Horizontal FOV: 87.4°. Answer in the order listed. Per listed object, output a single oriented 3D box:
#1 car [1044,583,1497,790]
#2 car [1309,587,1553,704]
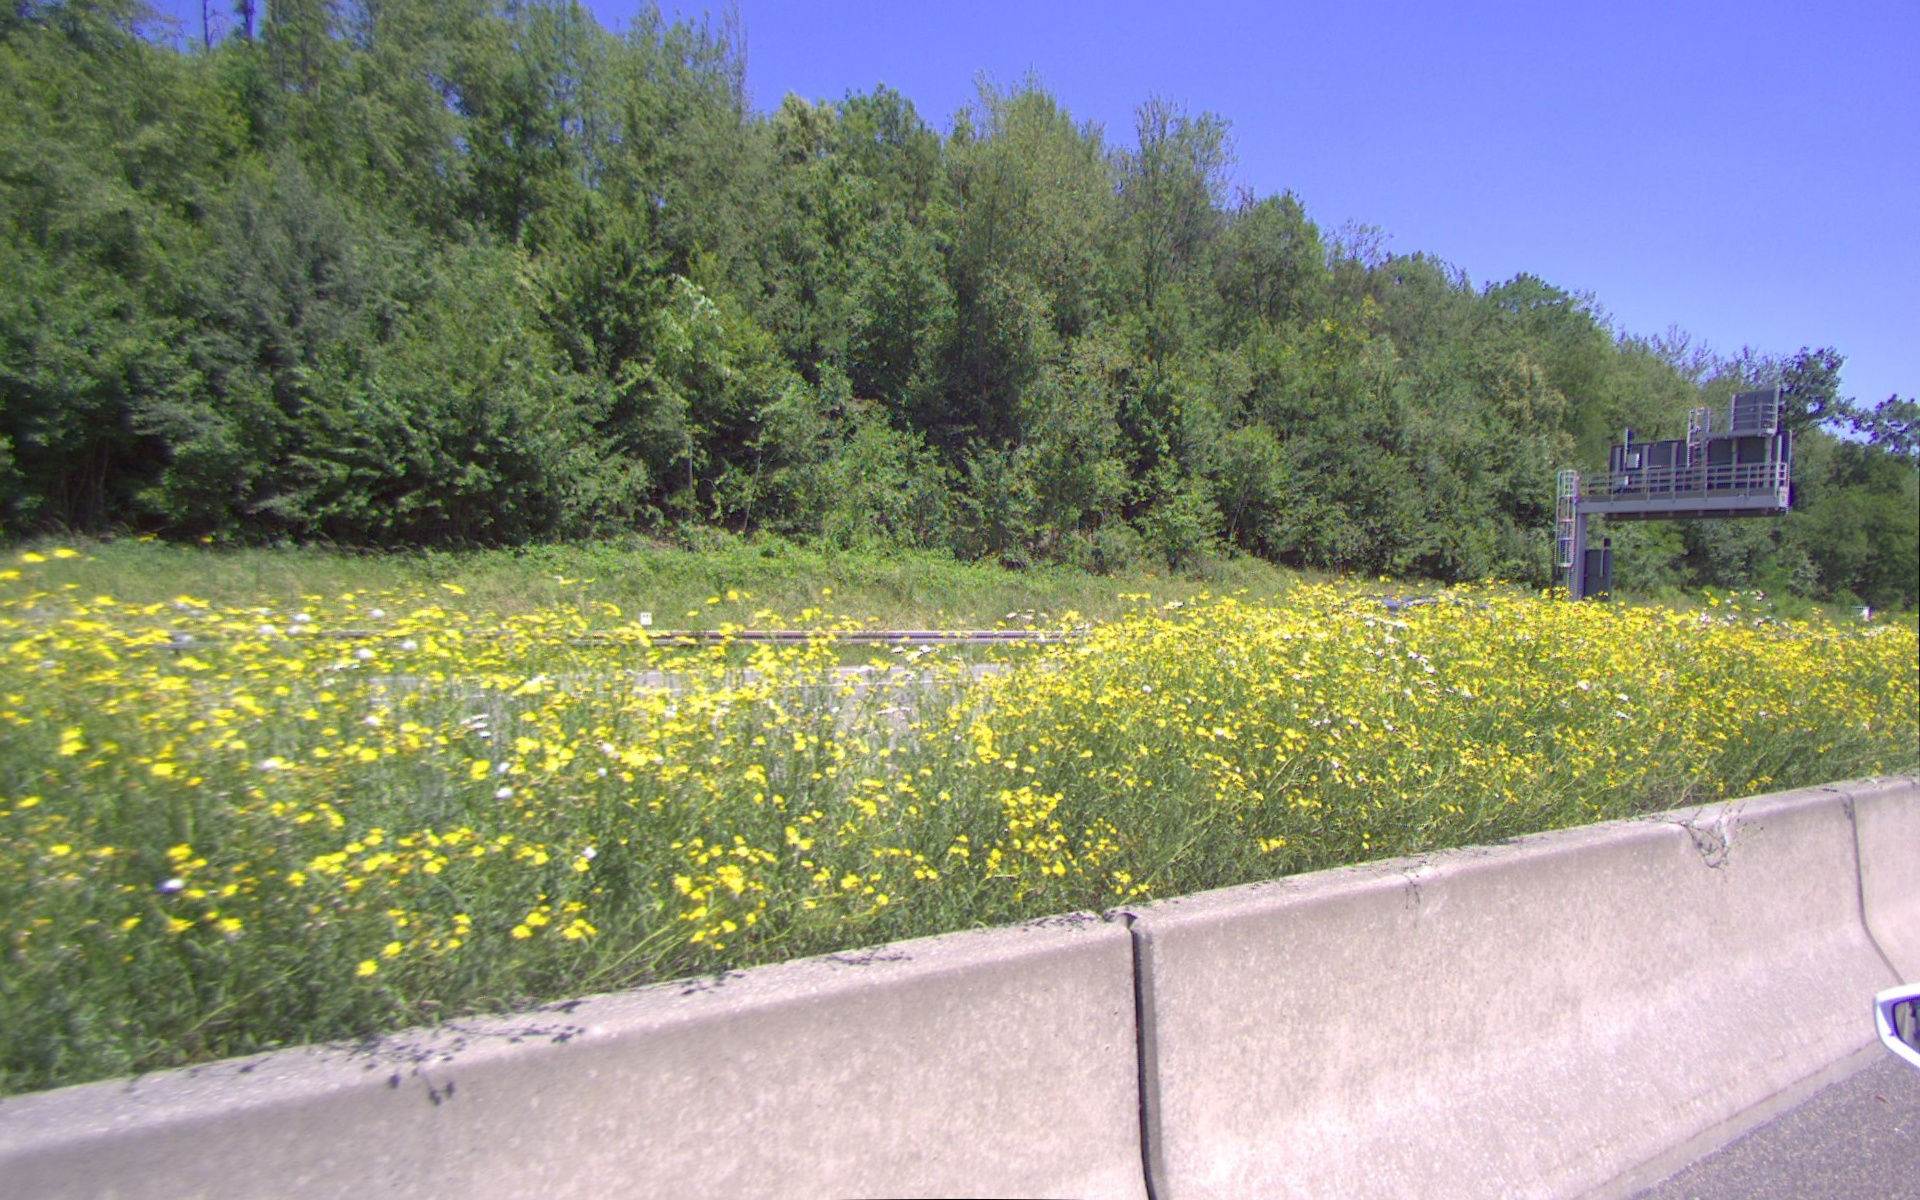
[{"bbox_3d":[2.884,0.665,9.134,3.953,1.518,1.728,1,0,-31],"label":"car"},{"bbox_3d":[7.969,0.715,16.919,4.101,1.757,1.728,1,0,-31],"label":"car"}]
